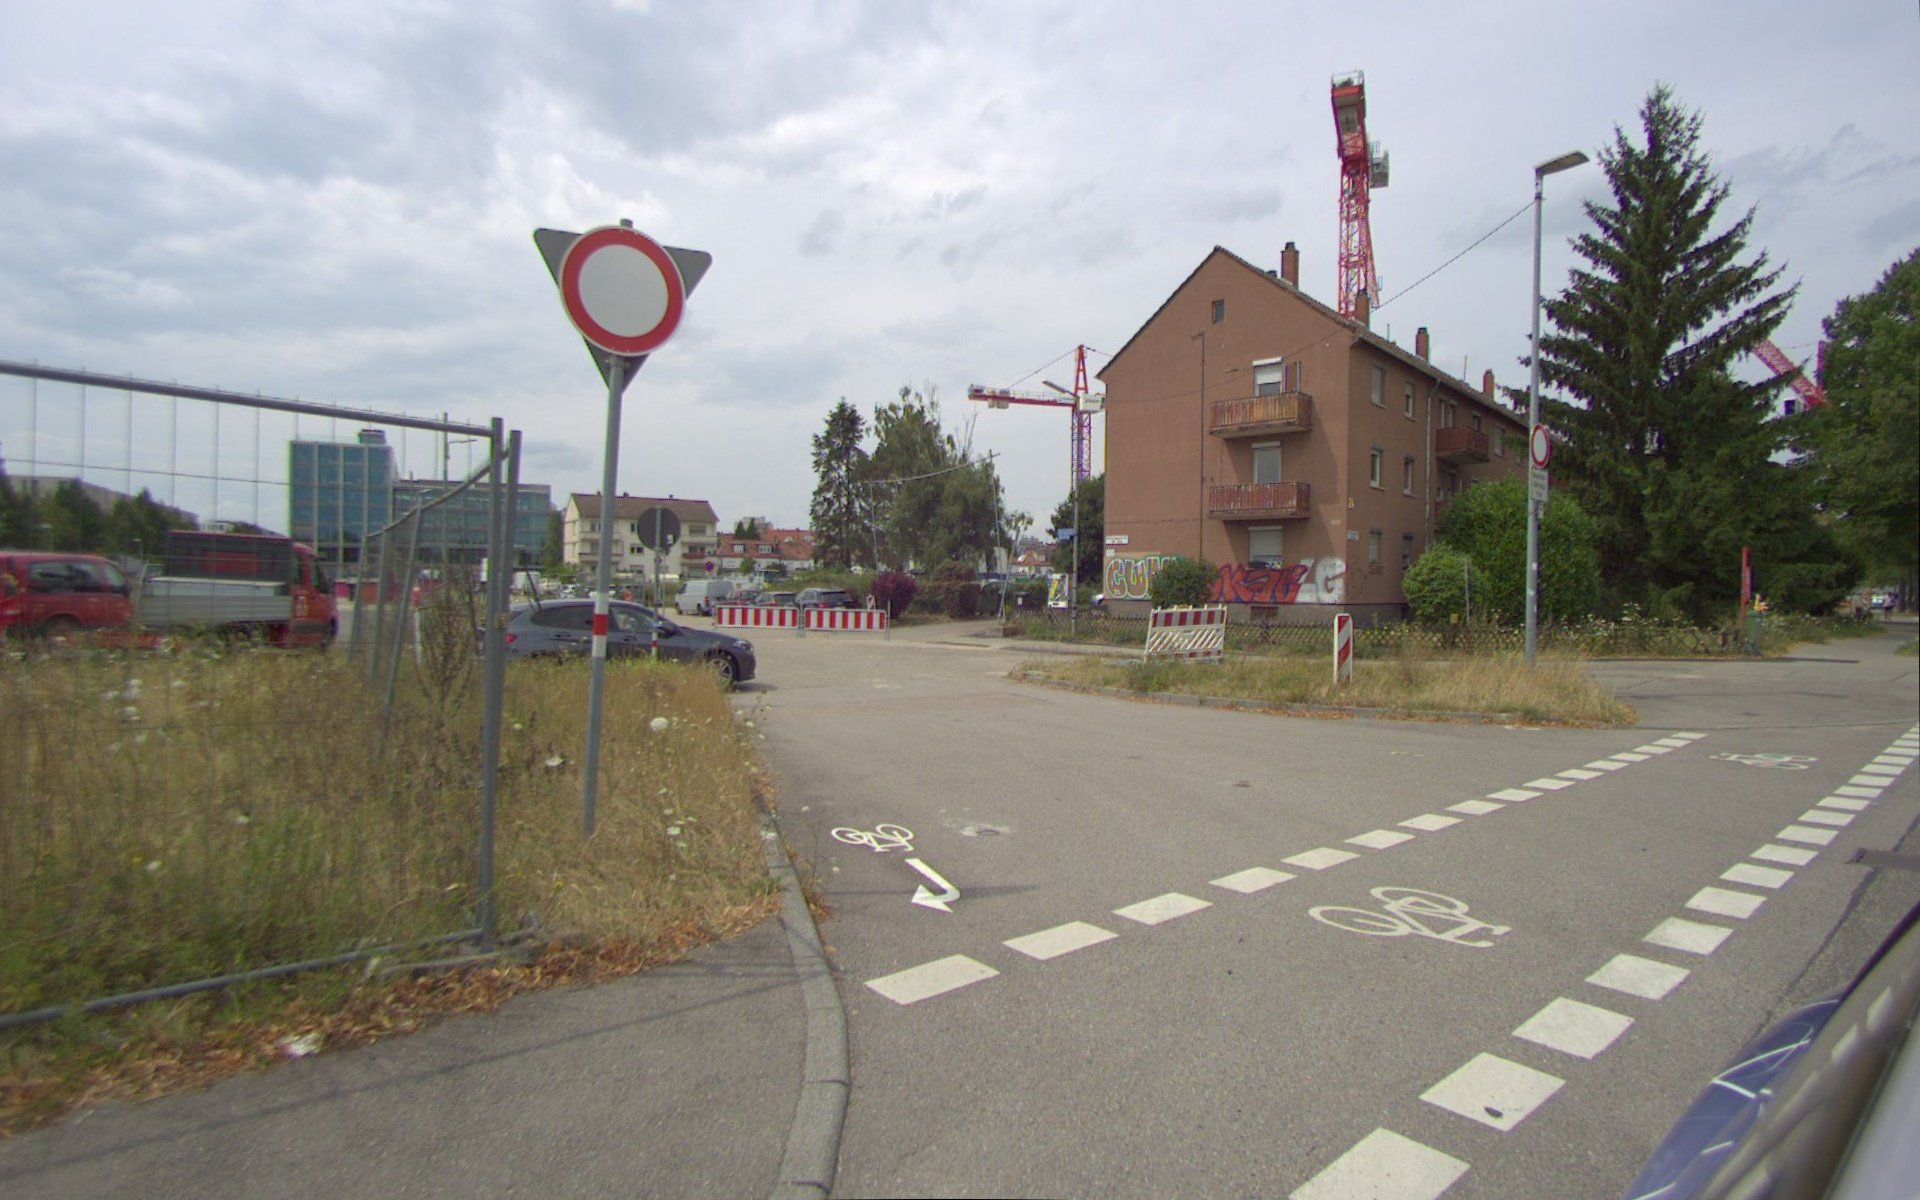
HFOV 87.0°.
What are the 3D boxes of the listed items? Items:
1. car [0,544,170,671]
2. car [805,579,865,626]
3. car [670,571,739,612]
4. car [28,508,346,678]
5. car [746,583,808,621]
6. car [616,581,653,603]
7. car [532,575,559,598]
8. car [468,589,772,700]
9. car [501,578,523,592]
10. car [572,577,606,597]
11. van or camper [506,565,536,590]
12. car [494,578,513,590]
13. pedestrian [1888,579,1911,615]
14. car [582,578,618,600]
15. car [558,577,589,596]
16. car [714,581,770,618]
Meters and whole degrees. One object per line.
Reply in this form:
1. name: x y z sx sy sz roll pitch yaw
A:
1. car: -16.125 0.045 17.719 1.896 1.934 4.999 3 0 -17
2. car: -5.246 0.067 42.021 1.764 1.872 4.009 0 1 -17
3. car: -14.081 -0.498 55.626 2.107 2.163 4.910 0 1 -35
4. car: -13.198 -0.169 17.993 2.270 2.442 6.557 0 1 -16
5. car: -8.442 0.047 46.417 1.765 1.622 4.020 0 1 -26
6. car: -22.773 -0.582 70.678 1.820 1.525 4.019 0 1 -28
7. car: -40.347 -1.319 98.462 1.852 2.126 4.017 0 1 -31
8. car: -5.229 0.590 15.784 4.178 1.492 1.767 0 1 -35
9. car: -53.357 -1.788 120.496 1.820 1.554 4.017 0 1 -31
10. car: -29.870 -1.079 81.414 1.820 1.554 4.017 0 1 -31
11. van or camper: -49.594 -2.511 114.383 2.306 2.721 5.248 0 1 -33
12. car: -58.904 -2.039 130.540 1.820 1.554 4.017 0 1 -31
13. pedestrian: 53.557 -0.185 57.692 0.852 2.039 0.721 1 0 39
14. car: -27.286 -0.854 76.706 1.820 1.554 4.017 0 1 -31
15. car: -32.750 -1.143 85.753 1.820 1.554 4.017 0 1 -31
16. car: -10.993 -0.064 50.849 1.819 1.771 4.020 0 1 -27
